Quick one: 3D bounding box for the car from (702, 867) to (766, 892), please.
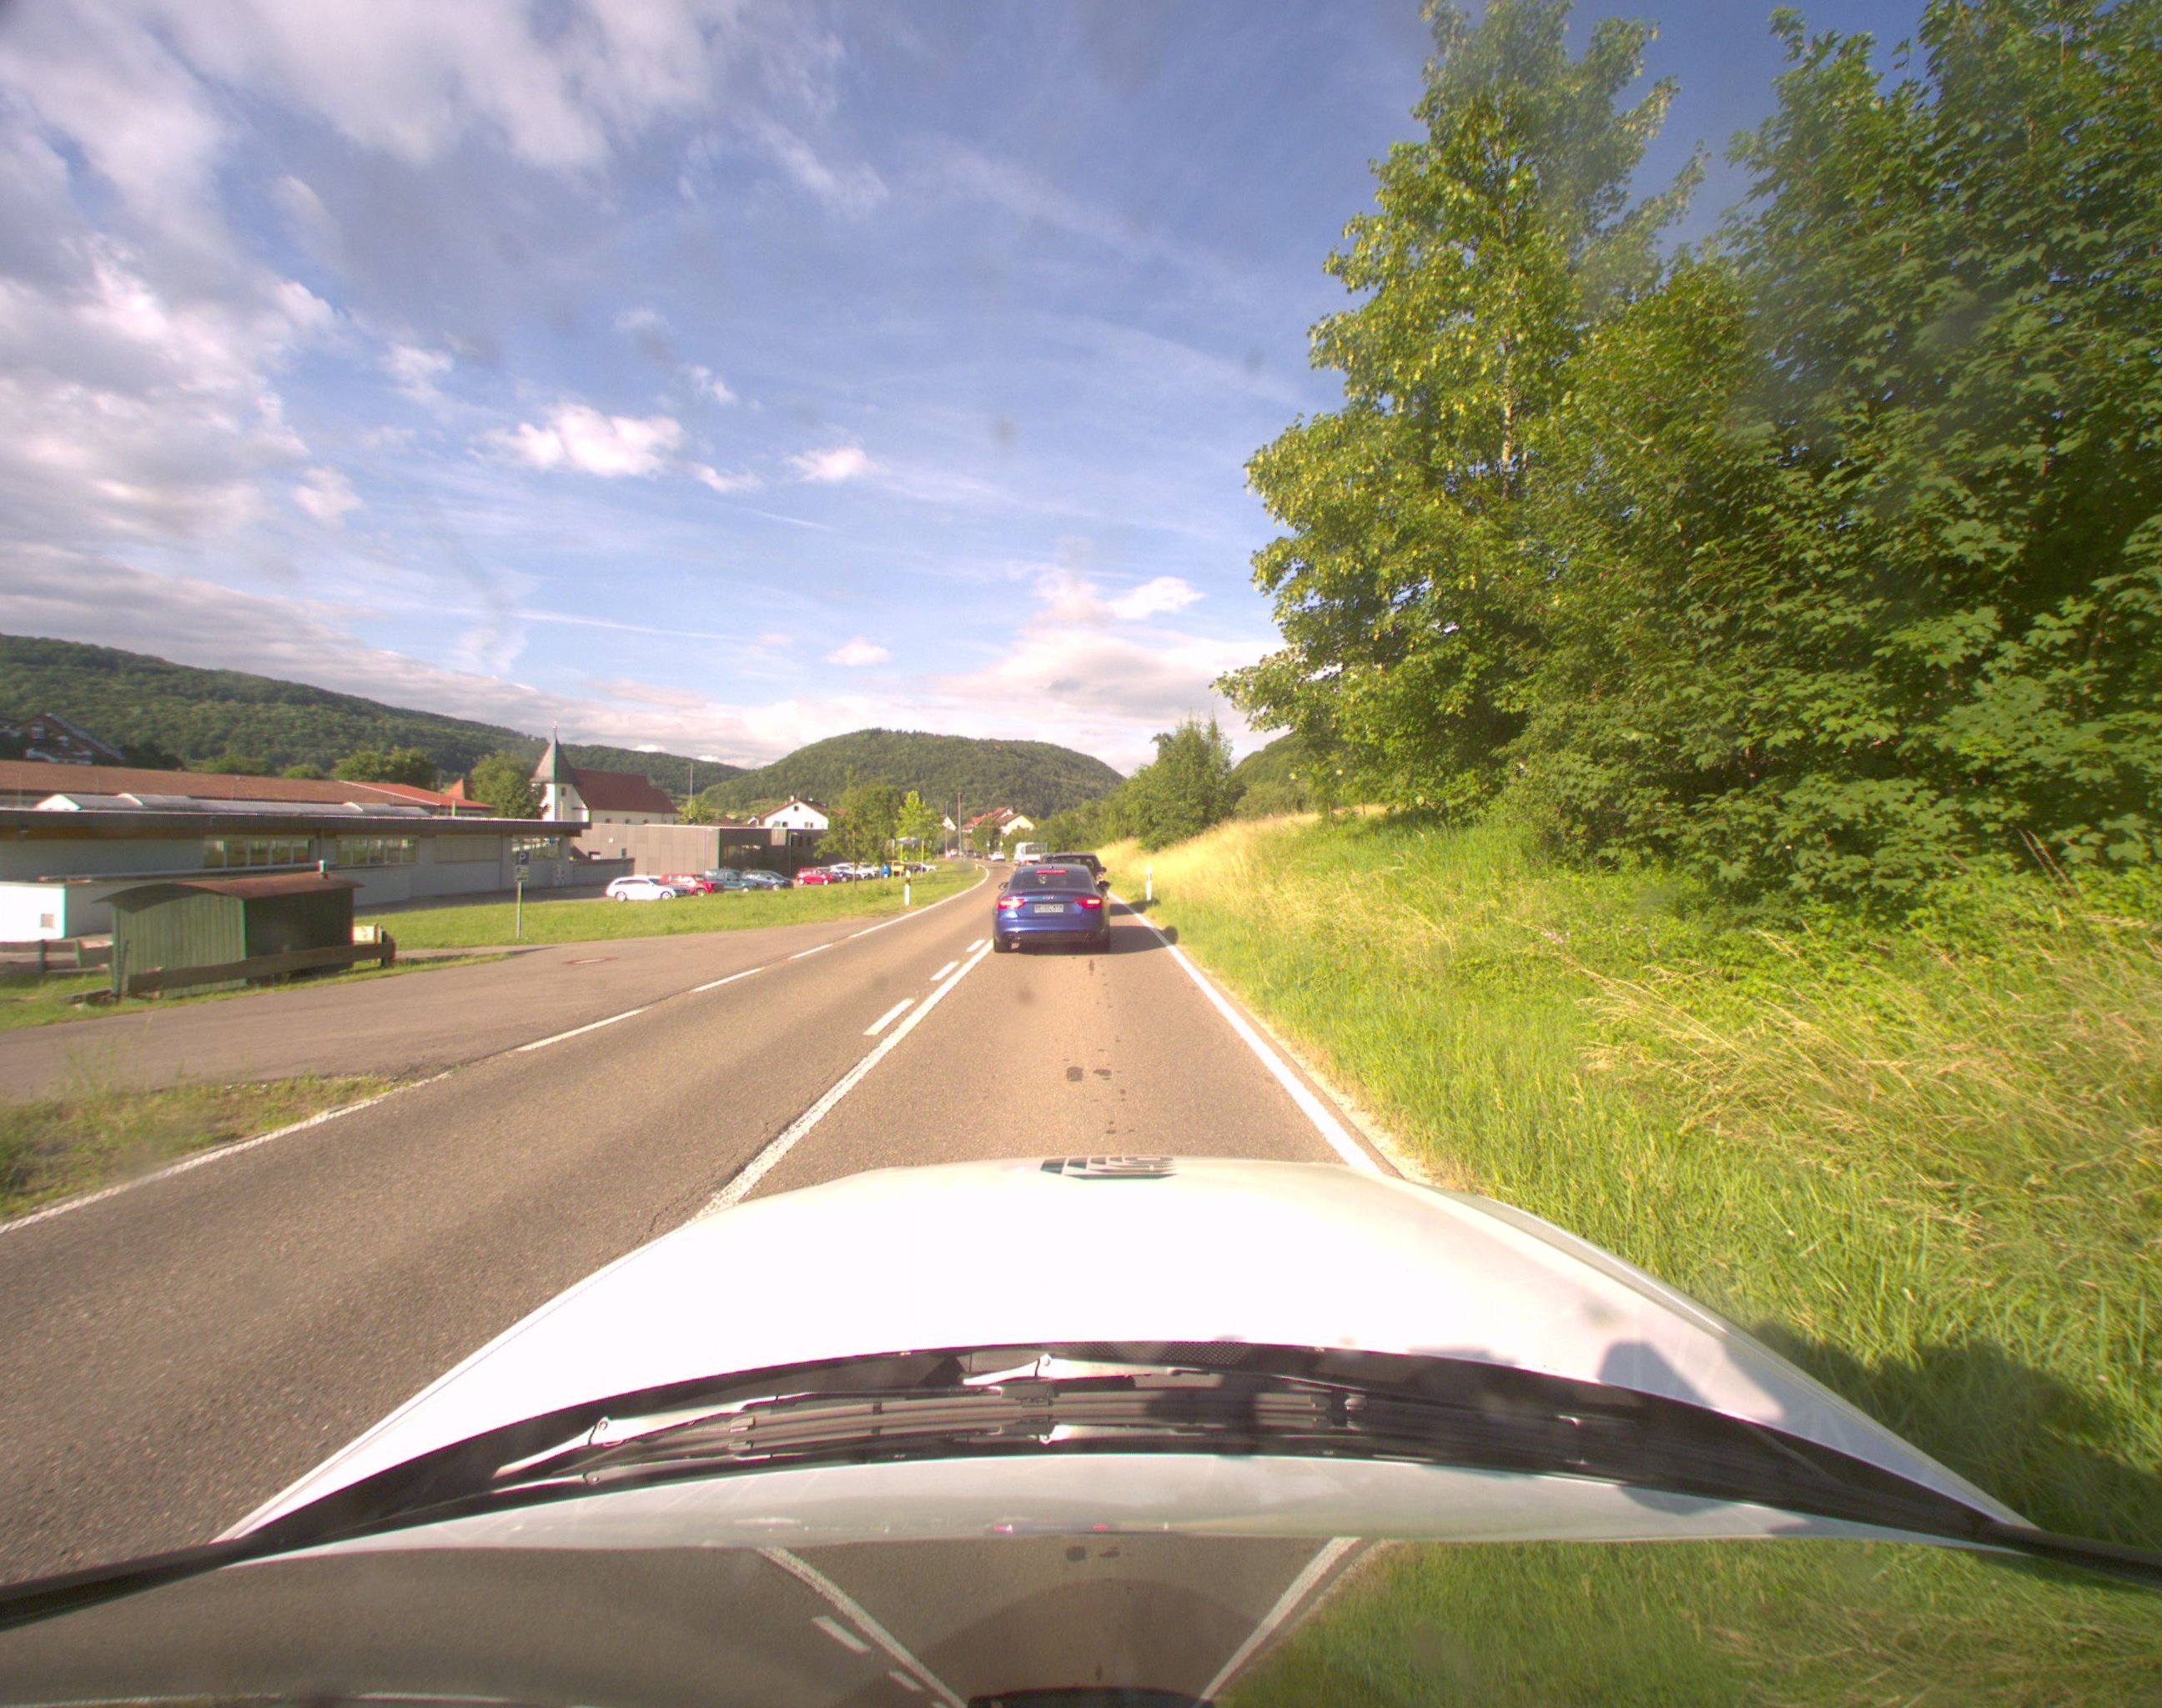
[{"bbox_3d":[-25.048,1.861,58.836,3.846,1.722,1.757,0,0,2],"label":"car"}]

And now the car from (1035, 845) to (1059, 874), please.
[{"bbox_3d":[-2.496,0.408,59.251,1.564,2.013,3.995,-2,0,-4],"label":"car"}]

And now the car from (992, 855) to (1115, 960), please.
[{"bbox_3d":[-0.384,0.779,13.579,1.737,1.450,3.517,-2,0,0],"label":"car"}]

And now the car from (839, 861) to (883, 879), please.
[{"bbox_3d":[-23.031,1.685,85.204,4.057,1.673,1.599,-1,1,5],"label":"car"}]

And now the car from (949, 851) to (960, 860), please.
[{"bbox_3d":[-27.896,0.260,179.920,1.682,1.924,3.974,-2,0,-19],"label":"car"}]

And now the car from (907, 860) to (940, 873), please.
[{"bbox_3d":[-20.937,1.665,108.289,4.016,1.660,1.658,-2,0,5],"label":"car"}]

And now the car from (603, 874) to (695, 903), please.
[{"bbox_3d":[-26.678,2.104,50.379,4.619,1.589,2.002,-1,0,4],"label":"car"}]

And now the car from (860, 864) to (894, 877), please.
[{"bbox_3d":[-22.858,1.851,91.120,3.360,1.373,1.659,-2,0,-2],"label":"car"}]

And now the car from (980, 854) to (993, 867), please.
[{"bbox_3d":[-15.492,1.071,133.077,1.662,1.924,3.981,-2,0,-14],"label":"car"}]

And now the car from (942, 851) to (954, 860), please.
[{"bbox_3d":[-30.637,0.293,187.688,1.961,1.924,3.974,-2,0,-19],"label":"car"}]

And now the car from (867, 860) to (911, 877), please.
[{"bbox_3d":[-22.107,1.682,93.834,4.531,1.815,1.844,-2,0,5],"label":"car"}]

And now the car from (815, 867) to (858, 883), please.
[{"bbox_3d":[-23.616,2.030,78.816,3.607,1.405,1.599,-1,-3,5],"label":"car"}]

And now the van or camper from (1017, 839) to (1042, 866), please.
[{"bbox_3d":[-5.617,-0.105,87.555,2.279,2.714,5.753,-2,0,-7],"label":"van or camper"}]

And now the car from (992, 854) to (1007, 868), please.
[{"bbox_3d":[-12.257,1.042,122.403,1.661,1.924,3.984,-2,0,-12],"label":"car"}]

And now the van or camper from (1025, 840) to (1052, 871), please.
[{"bbox_3d":[-3.686,0.163,69.805,2.048,2.505,5.801,-2,0,-5],"label":"van or camper"}]

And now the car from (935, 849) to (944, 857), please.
[{"bbox_3d":[-34.041,-0.192,195.909,1.682,1.924,3.974,-2,0,-19],"label":"car"}]

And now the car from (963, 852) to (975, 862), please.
[{"bbox_3d":[-22.202,0.534,161.512,1.682,1.924,3.975,-2,0,-18],"label":"car"}]

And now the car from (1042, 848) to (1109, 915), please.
[{"bbox_3d":[-0.173,0.676,21.655,1.641,1.625,3.514,0,0,-2],"label":"car"}]

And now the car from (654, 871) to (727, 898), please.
[{"bbox_3d":[-25.480,1.995,53.238,3.901,1.579,1.758,-1,0,4],"label":"car"}]

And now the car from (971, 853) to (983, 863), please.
[{"bbox_3d":[-19.323,0.737,151.494,1.663,1.924,3.977,-2,0,-17],"label":"car"}]

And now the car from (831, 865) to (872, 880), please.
[{"bbox_3d":[-23.058,1.863,81.955,3.648,1.494,1.599,-1,-1,5],"label":"car"}]

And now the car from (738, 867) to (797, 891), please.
[{"bbox_3d":[-24.428,1.932,63.513,3.800,1.722,1.734,-1,0,4],"label":"car"}]

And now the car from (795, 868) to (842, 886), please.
[{"bbox_3d":[-23.721,2.044,73.596,3.607,1.444,1.651,-2,0,5],"label":"car"}]

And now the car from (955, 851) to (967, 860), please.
[{"bbox_3d":[-25.235,0.364,170.792,1.682,1.924,3.974,-2,0,-19],"label":"car"}]
